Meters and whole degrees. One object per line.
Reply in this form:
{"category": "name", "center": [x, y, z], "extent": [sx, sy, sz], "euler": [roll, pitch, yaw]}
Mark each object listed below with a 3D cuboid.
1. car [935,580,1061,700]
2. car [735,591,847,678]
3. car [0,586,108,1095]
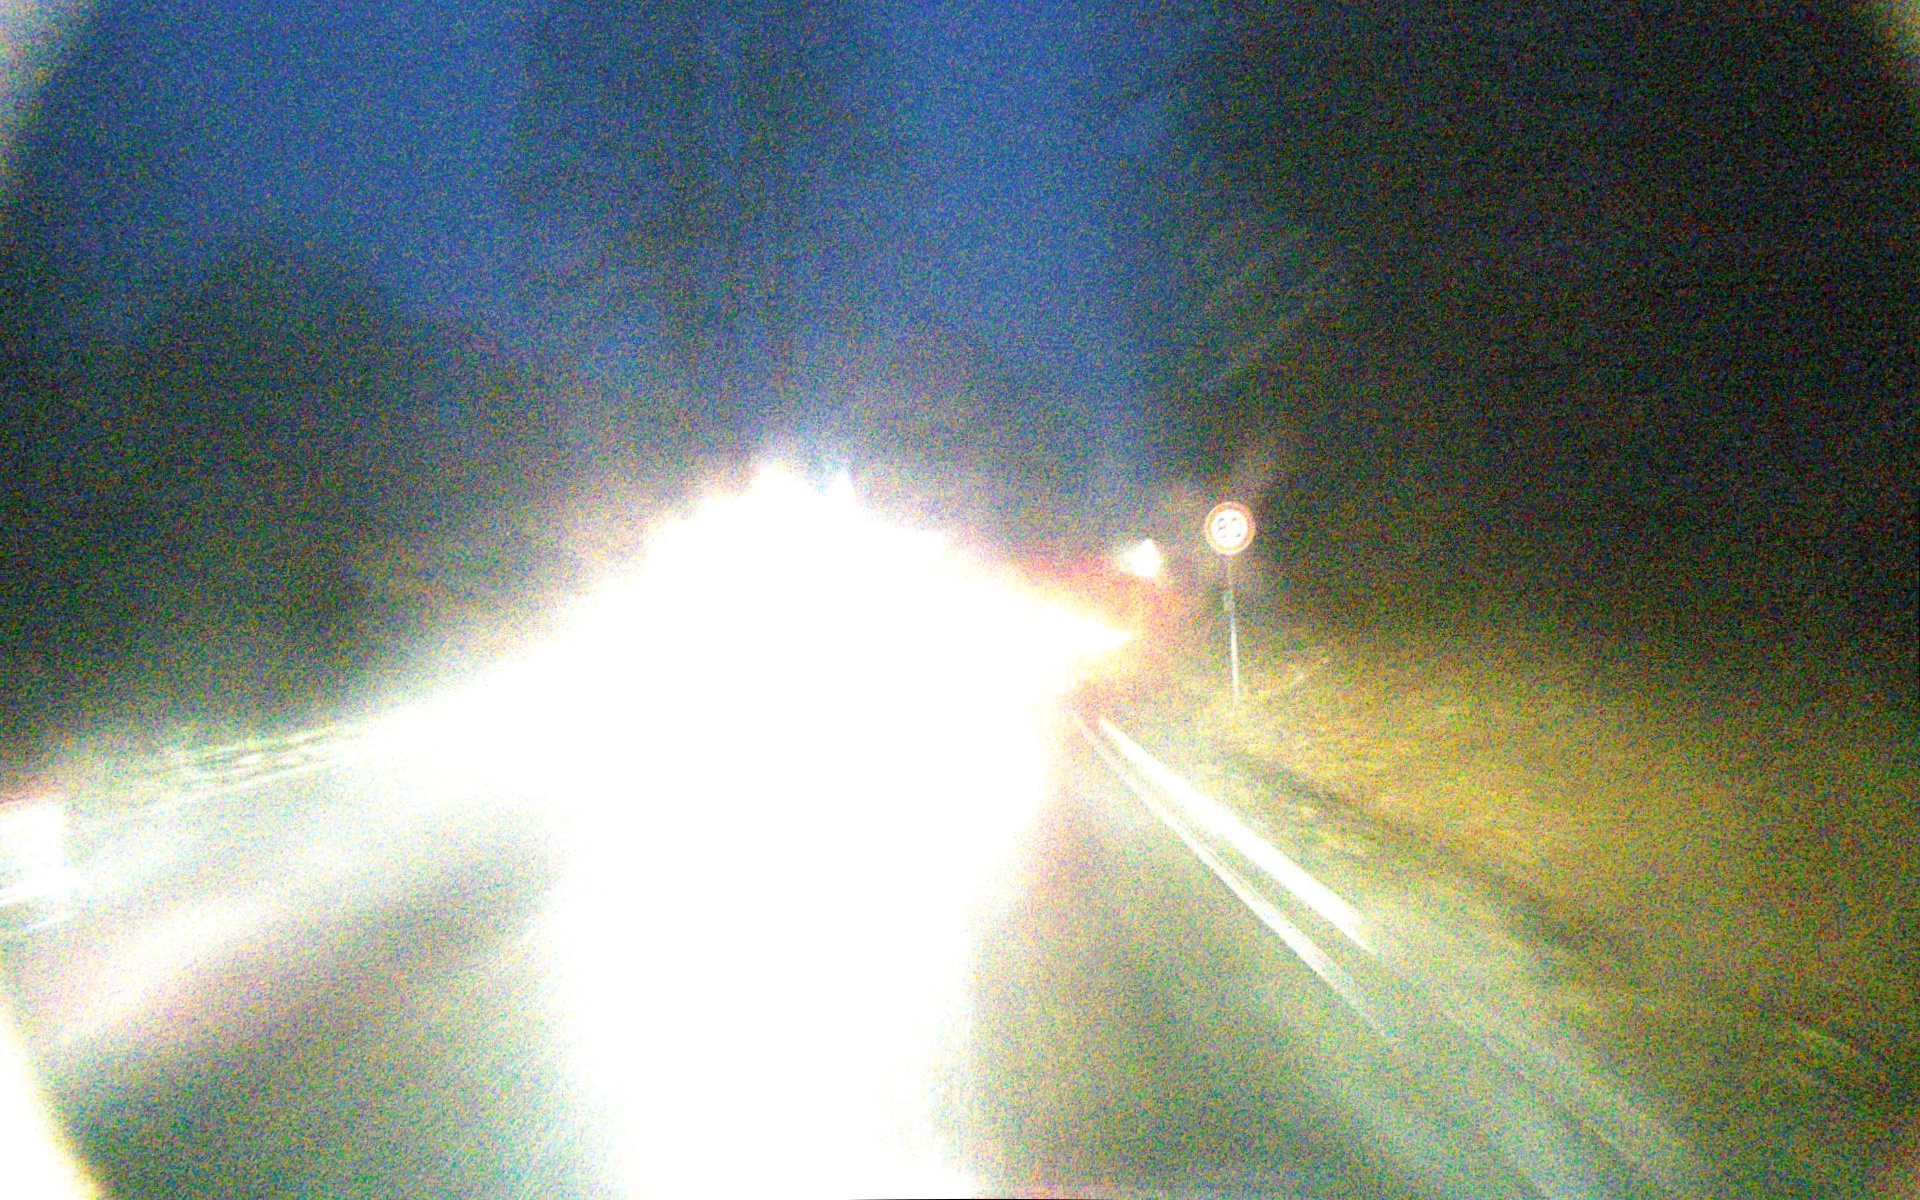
{"category": "car", "center": [0.602, 0.638, 27.972], "extent": [1.953, 1.838, 3.917], "euler": [-1, 0, 0]}
{"category": "car", "center": [-3.259, 0.624, 32.605], "extent": [1.728, 1.569, 4.148], "euler": [1, 0, 1]}
{"category": "car", "center": [-3.561, 0.690, 2.965], "extent": [1.719, 1.430, 4.487], "euler": [1, 1, 0]}
